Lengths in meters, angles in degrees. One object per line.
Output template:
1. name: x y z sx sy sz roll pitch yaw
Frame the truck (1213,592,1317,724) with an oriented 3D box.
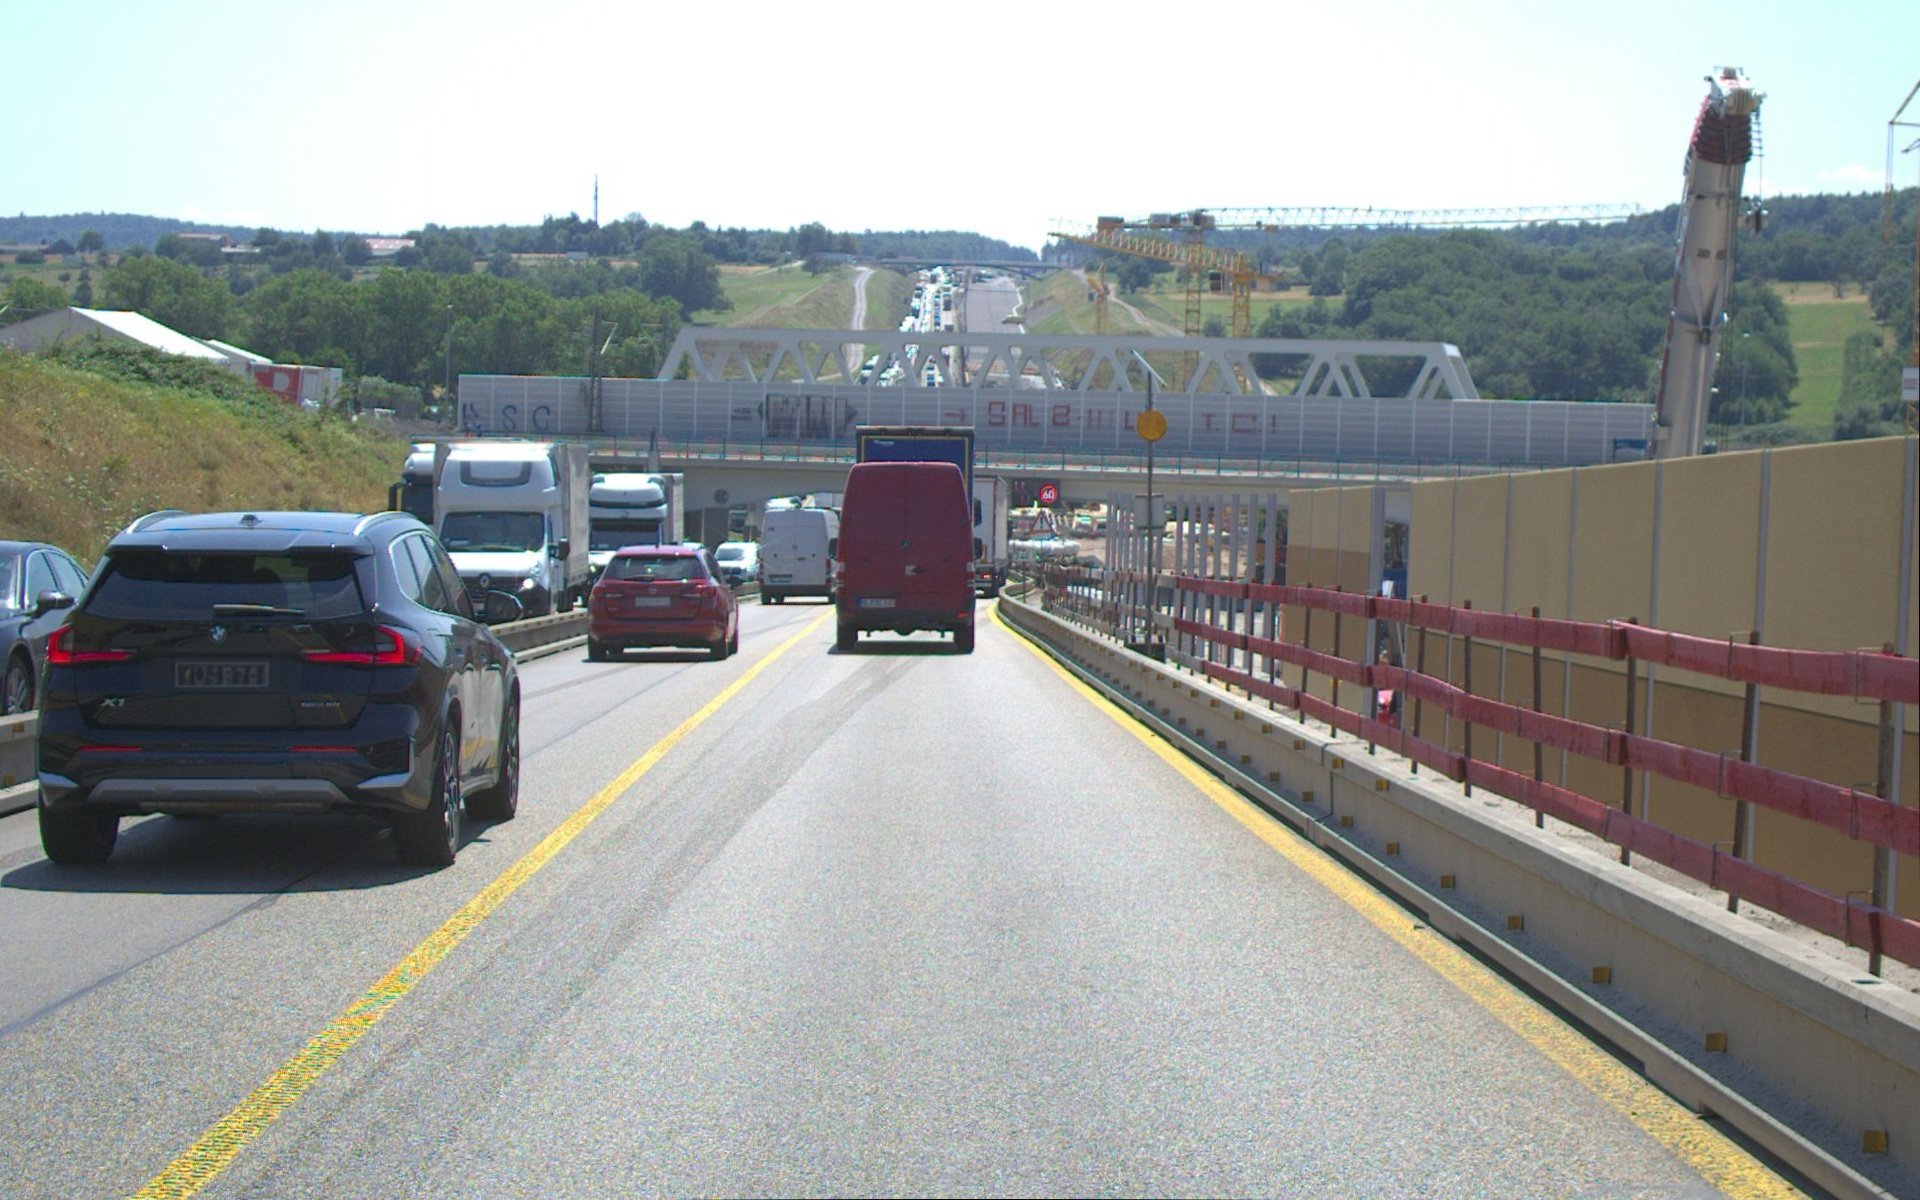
1. truck: 9.548 1.772 108.052 2.758 3.873 5.882 1 1 1

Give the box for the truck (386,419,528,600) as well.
1. truck: -11.601 -2.090 79.575 2.698 4.036 3.955 1 1 -1

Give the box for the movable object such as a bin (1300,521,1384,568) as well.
1. movable object such as a bin: 24.055 -3.500 216.764 5.147 2.798 2.142 1 1 5

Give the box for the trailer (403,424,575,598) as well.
1. trailer: -11.770 -2.202 87.169 2.698 4.011 13.703 1 1 -1

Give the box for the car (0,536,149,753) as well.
1. car: -7.283 0.255 24.757 1.797 1.422 4.950 0 1 -1

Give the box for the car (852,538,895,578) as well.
1. car: -3.653 -1.805 145.939 1.776 1.664 4.029 0 1 -1

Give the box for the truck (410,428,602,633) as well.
1. truck: -7.913 -1.216 60.632 2.538 3.362 7.038 1 1 -1

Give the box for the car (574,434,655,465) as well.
1. car: -21.137 -9.203 210.454 4.556 1.777 1.959 1 1 13

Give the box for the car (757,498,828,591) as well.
1. car: -4.477 -1.490 92.302 1.776 2.433 4.206 0 1 -1

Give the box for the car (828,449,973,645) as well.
1. car: -0.849 -0.775 49.565 1.988 2.681 4.624 0 1 -1

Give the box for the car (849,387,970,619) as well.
1. car: -1.168 -2.207 79.793 2.621 5.015 10.397 0 1 -1

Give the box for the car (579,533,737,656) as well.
1. car: -3.886 -0.110 44.808 1.776 1.512 4.206 0 1 -1

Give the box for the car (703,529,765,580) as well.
1. car: -8.389 -1.716 127.996 2.035 1.817 4.960 1 1 -1

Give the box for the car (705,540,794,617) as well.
1. car: -4.679 -0.496 76.857 1.839 1.648 4.165 0 1 -1

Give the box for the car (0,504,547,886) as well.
1. car: -3.200 0.359 16.810 1.879 1.612 4.499 0 1 -1

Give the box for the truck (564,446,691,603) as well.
1. truck: -8.324 -1.899 86.785 2.589 3.745 7.359 1 1 -1

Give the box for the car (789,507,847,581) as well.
1. car: -4.563 -1.808 110.962 1.776 2.322 4.206 0 1 -1
